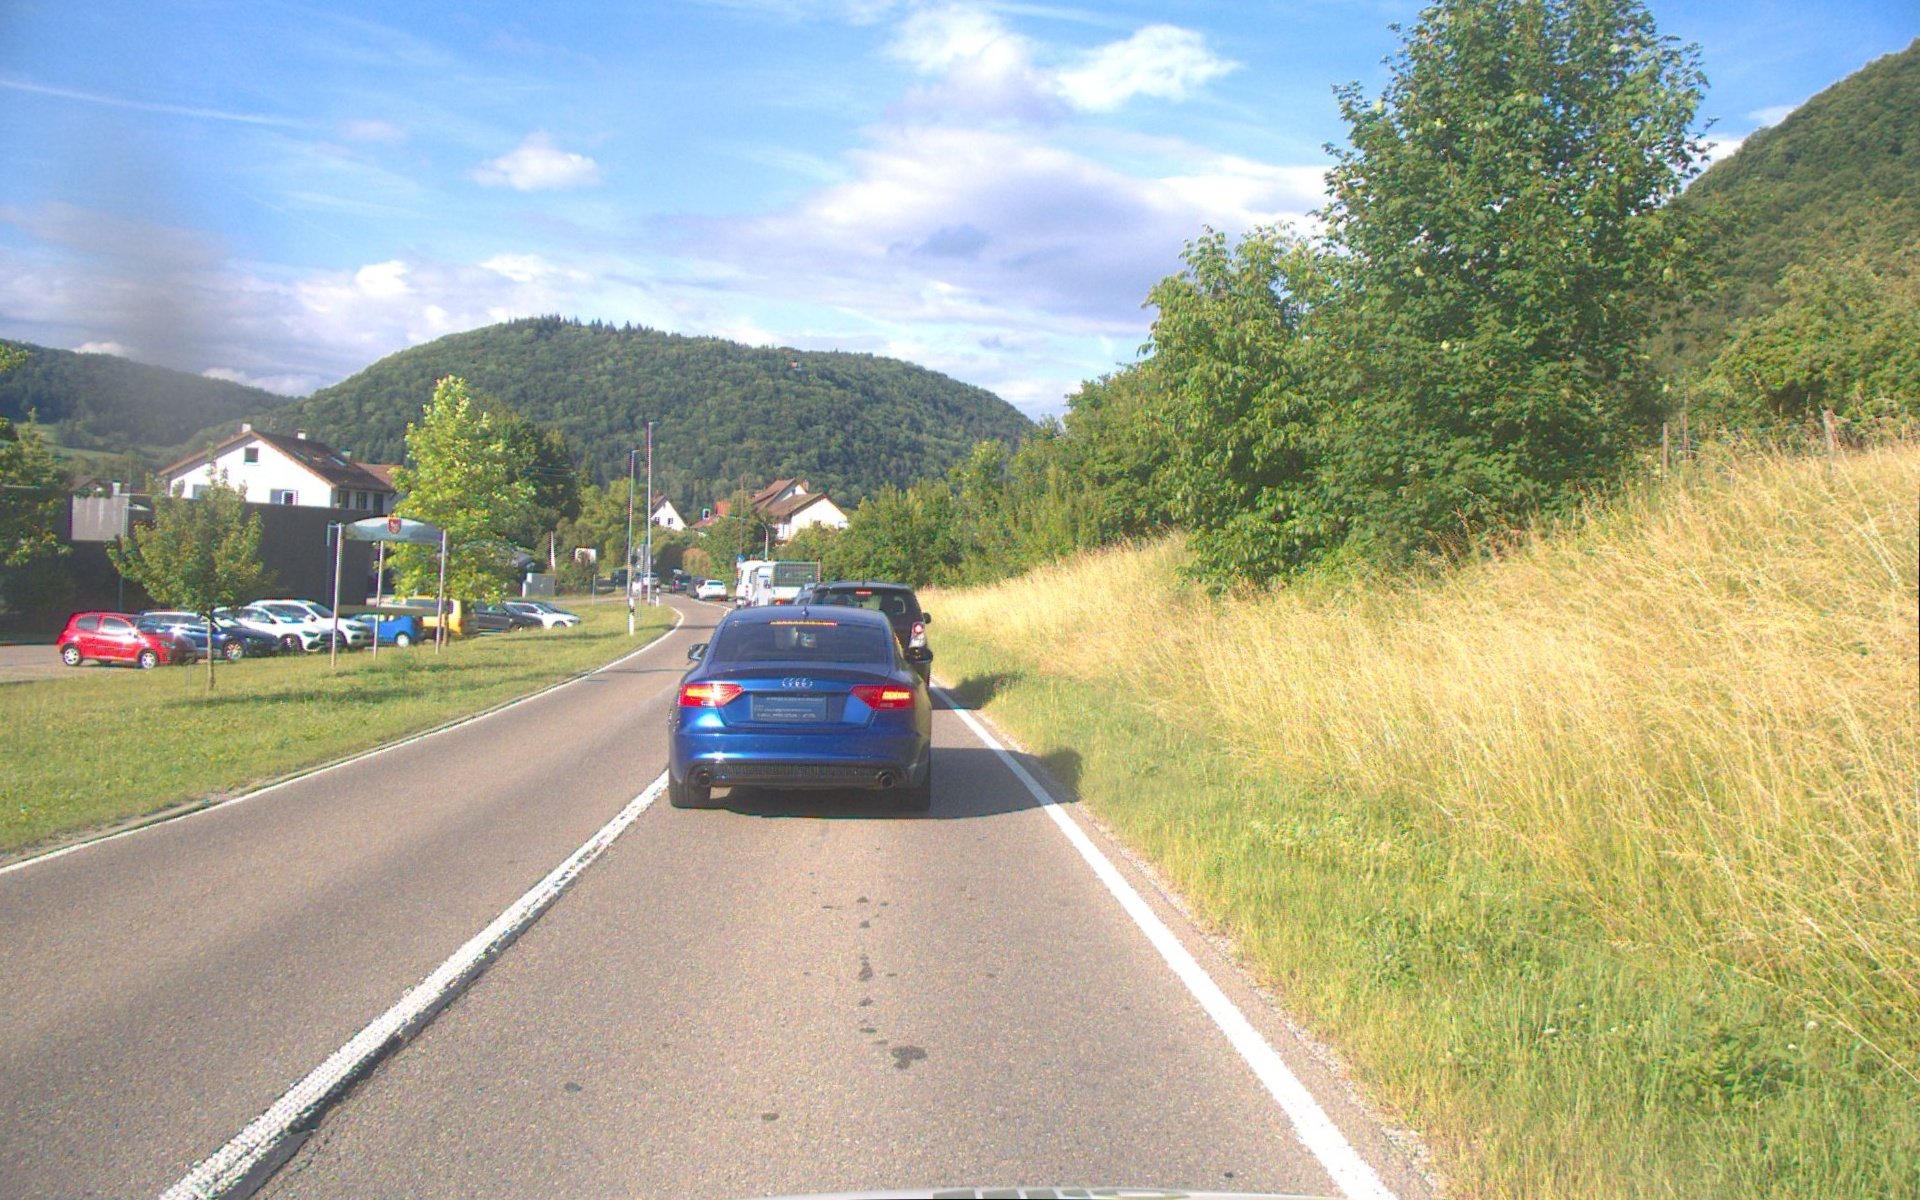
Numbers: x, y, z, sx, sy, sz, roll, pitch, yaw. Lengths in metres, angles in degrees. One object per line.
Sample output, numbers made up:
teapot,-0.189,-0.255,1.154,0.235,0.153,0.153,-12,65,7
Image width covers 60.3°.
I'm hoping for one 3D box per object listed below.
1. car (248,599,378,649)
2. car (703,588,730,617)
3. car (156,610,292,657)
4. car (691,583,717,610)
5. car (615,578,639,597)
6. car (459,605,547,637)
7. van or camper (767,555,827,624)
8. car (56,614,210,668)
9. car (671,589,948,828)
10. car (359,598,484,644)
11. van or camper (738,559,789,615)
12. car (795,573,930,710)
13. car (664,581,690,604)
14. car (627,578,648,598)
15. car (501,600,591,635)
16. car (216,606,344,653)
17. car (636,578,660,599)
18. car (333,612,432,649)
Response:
car,-22.796,0.833,58.322,3.990,1.702,1.598,0,0,6
car,-17.094,0.171,116.088,1.630,1.958,3.988,0,0,-12
car,-23.067,1.067,51.892,3.547,1.430,1.597,0,-2,6
car,-19.191,-0.255,123.920,1.631,1.958,3.986,0,0,-13
car,-35.789,-1.304,177.525,1.927,1.958,3.974,0,0,-21
car,-21.250,0.984,76.955,3.633,1.465,1.510,0,0,6
van or camper,-6.325,-0.393,63.762,2.014,2.549,5.800,0,0,-9
car,-23.393,1.158,46.858,3.547,1.469,1.649,0,0,6
car,-1.049,0.678,12.108,1.708,1.476,3.514,1,0,-4
car,-21.785,0.841,67.016,4.456,1.846,1.842,0,0,6
van or camper,-9.998,-0.639,83.811,2.239,2.761,5.753,0,0,-10
car,-1.304,0.509,22.188,1.613,1.653,3.514,2,0,-3
car,-24.465,-0.646,142.757,1.651,1.958,3.980,0,0,-18
car,-32.688,-1.195,167.586,1.651,1.958,3.978,0,0,-19
car,-20.379,0.845,81.546,3.950,1.689,1.657,0,0,6
car,-22.619,0.963,55.094,3.588,1.520,1.597,0,-1,6
car,-30.061,-1.123,159.273,1.652,1.958,3.977,0,0,-20
car,-22.453,1.163,64.394,3.301,1.397,1.660,0,0,-2
